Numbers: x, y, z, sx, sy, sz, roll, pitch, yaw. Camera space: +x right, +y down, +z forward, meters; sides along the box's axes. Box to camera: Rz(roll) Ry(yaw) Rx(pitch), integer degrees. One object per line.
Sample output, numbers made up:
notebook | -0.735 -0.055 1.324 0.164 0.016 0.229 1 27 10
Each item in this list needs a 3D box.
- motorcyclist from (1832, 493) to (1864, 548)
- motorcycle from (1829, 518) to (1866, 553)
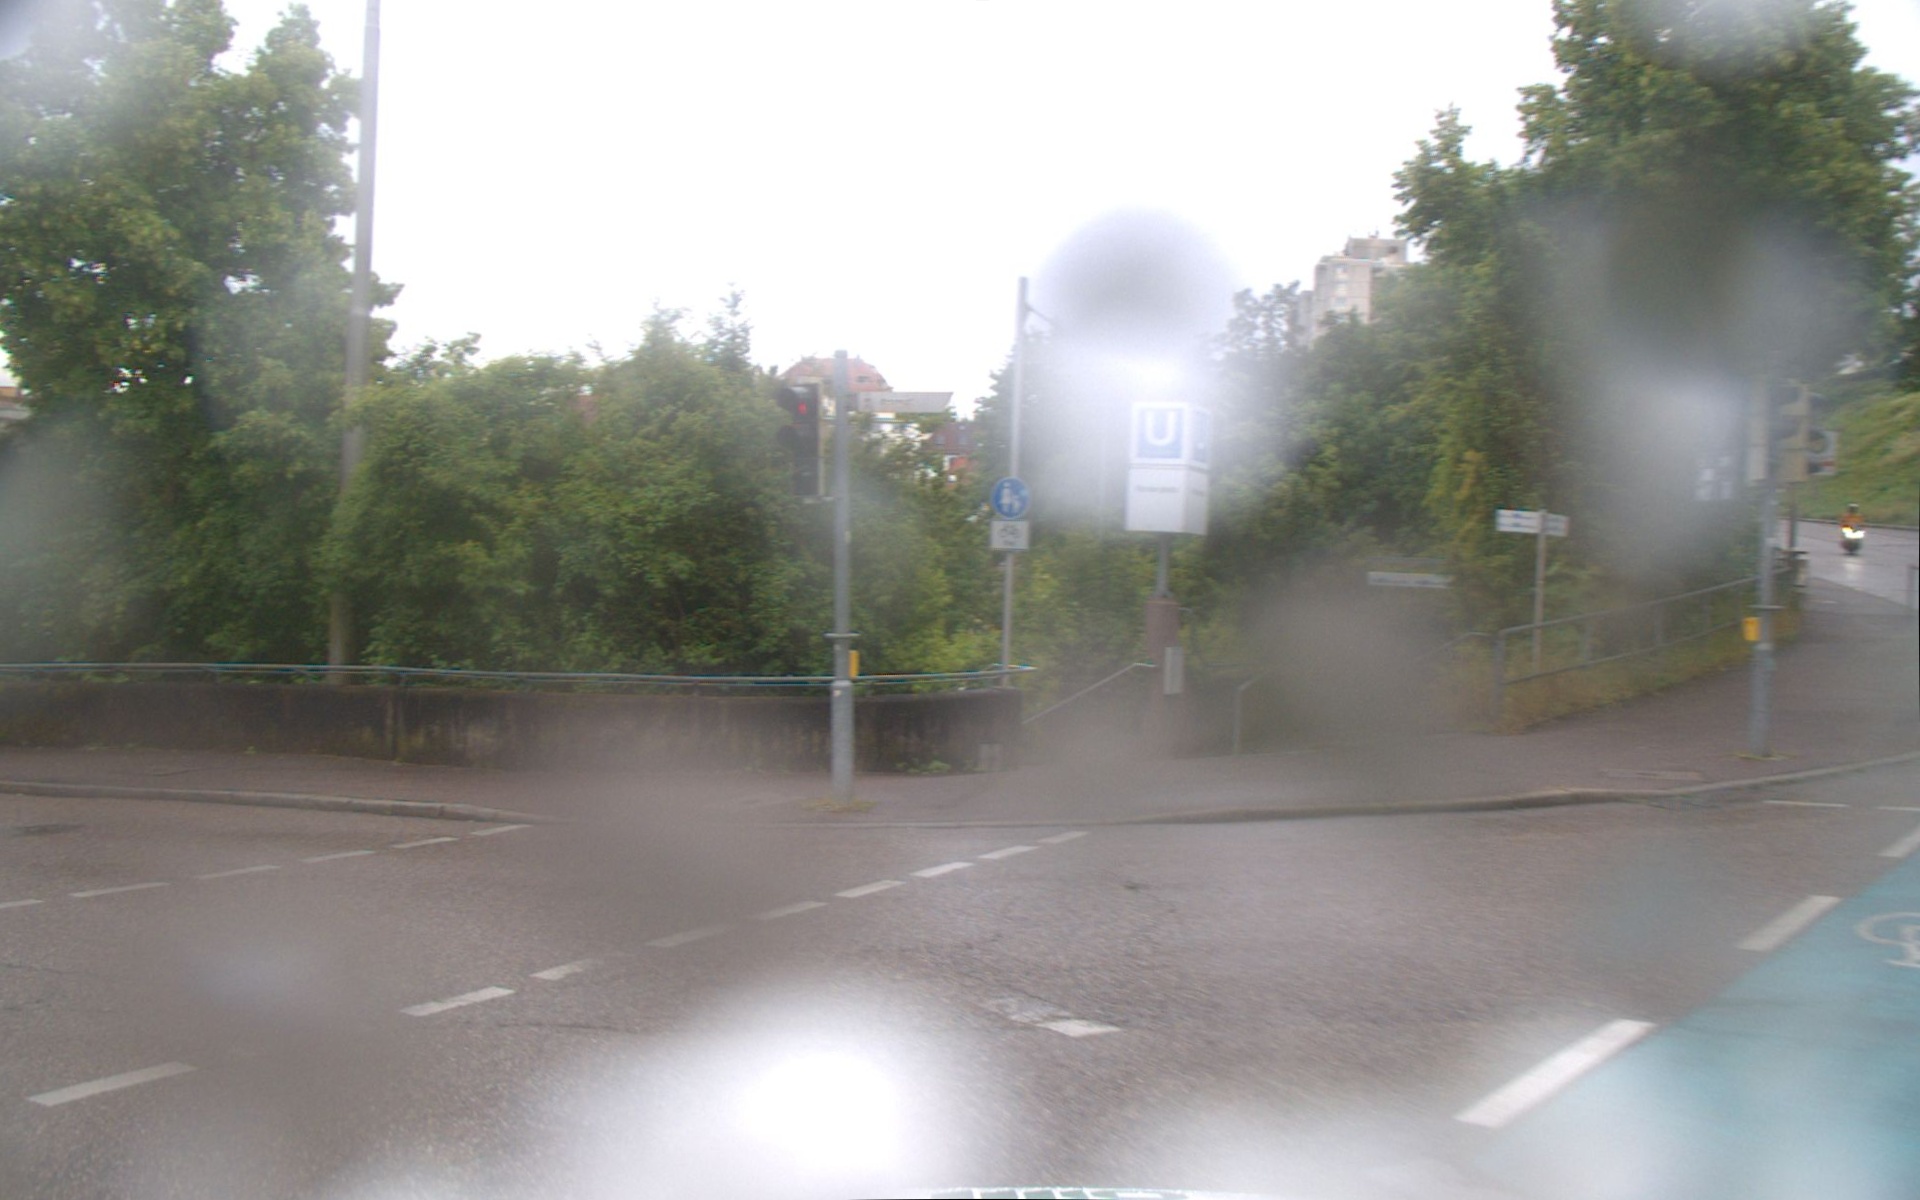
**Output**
motorcyclist | 31.660 -2.841 58.991 0.866 1.905 1.254 1 3 23
motorcycle | 31.539 -2.310 58.805 0.920 1.163 2.646 1 4 23
